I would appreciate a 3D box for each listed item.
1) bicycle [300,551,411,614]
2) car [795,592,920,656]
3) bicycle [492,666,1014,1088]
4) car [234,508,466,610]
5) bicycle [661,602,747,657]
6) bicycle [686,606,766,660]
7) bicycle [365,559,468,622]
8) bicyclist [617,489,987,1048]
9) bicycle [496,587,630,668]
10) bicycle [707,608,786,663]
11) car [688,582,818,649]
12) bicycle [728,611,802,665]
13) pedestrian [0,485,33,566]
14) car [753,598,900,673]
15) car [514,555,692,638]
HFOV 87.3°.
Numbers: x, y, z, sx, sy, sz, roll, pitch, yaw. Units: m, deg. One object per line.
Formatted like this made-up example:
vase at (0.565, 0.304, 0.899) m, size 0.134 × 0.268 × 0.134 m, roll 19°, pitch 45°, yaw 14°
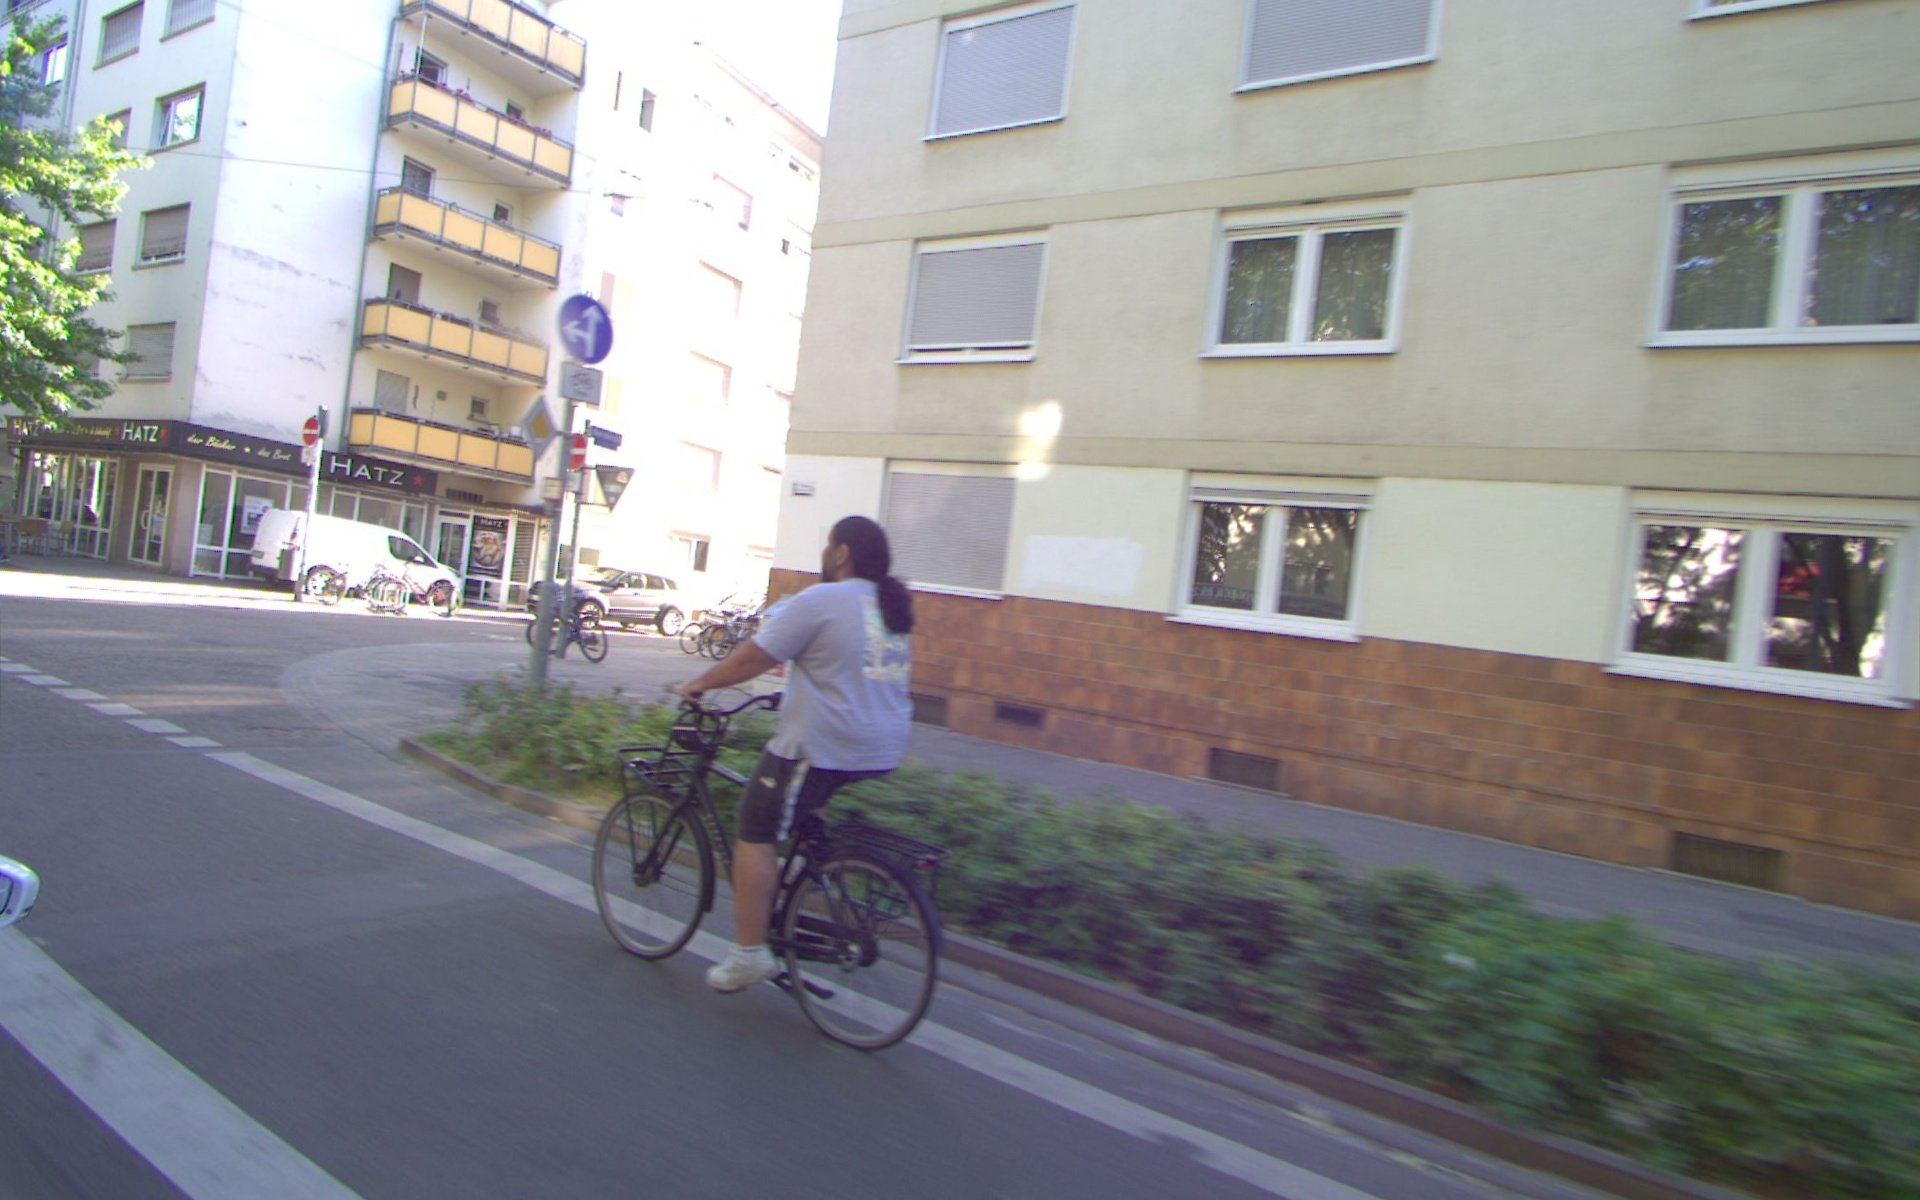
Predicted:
bicycle at (-12.958, -0.362, 21.615) m, size 0.692 × 1.130 × 1.837 m, roll 7°, pitch -1°, yaw 33°
car at (-3.466, 0.865, 34.855) m, size 1.687 × 1.752 × 4.433 m, roll 7°, pitch -1°, yaw 35°
bicycle at (-0.875, 0.957, 4.020) m, size 1.957 × 1.104 × 0.703 m, roll 6°, pitch -2°, yaw 31°
car at (-14.826, -0.933, 24.742) m, size 1.965 × 1.853 × 4.370 m, roll 7°, pitch -1°, yaw 27°
bicycle at (-5.422, 0.653, 21.399) m, size 0.480 × 1.028 × 1.966 m, roll 7°, pitch 0°, yaw 28°
bicycle at (-4.887, 0.710, 21.182) m, size 0.479 × 1.028 × 1.968 m, roll 7°, pitch 0°, yaw 23°
bicycle at (-11.716, -0.191, 21.735) m, size 0.605 × 1.130 × 1.769 m, roll 7°, pitch 0°, yaw 44°
bicyclist at (-0.578, 0.551, 3.818) m, size 0.899 × 1.780 × 0.788 m, roll 7°, pitch 0°, yaw 30°
bicycle at (-6.343, 0.438, 16.058) m, size 1.933 × 1.028 × 0.804 m, roll 7°, pitch 0°, yaw 26°
bicycle at (-4.400, 0.763, 20.896) m, size 0.479 × 1.028 × 1.968 m, roll 7°, pitch 0°, yaw 23°
car at (-6.200, 0.497, 30.420) m, size 1.703 × 1.589 × 3.651 m, roll 7°, pitch -1°, yaw 30°
bicycle at (-3.992, 0.811, 20.733) m, size 0.360 × 1.028 × 1.968 m, roll 7°, pitch 0°, yaw 23°
pedestrian at (-20.073, -1.583, 20.950) m, size 0.849 × 1.636 × 0.764 m, roll 7°, pitch 0°, yaw -31°
car at (-3.120, 0.890, 24.104) m, size 1.703 × 1.431 × 3.379 m, roll 7°, pitch -1°, yaw 29°
car at (-9.092, -0.047, 25.937) m, size 1.773 × 1.625 × 4.012 m, roll 7°, pitch -1°, yaw 30°
